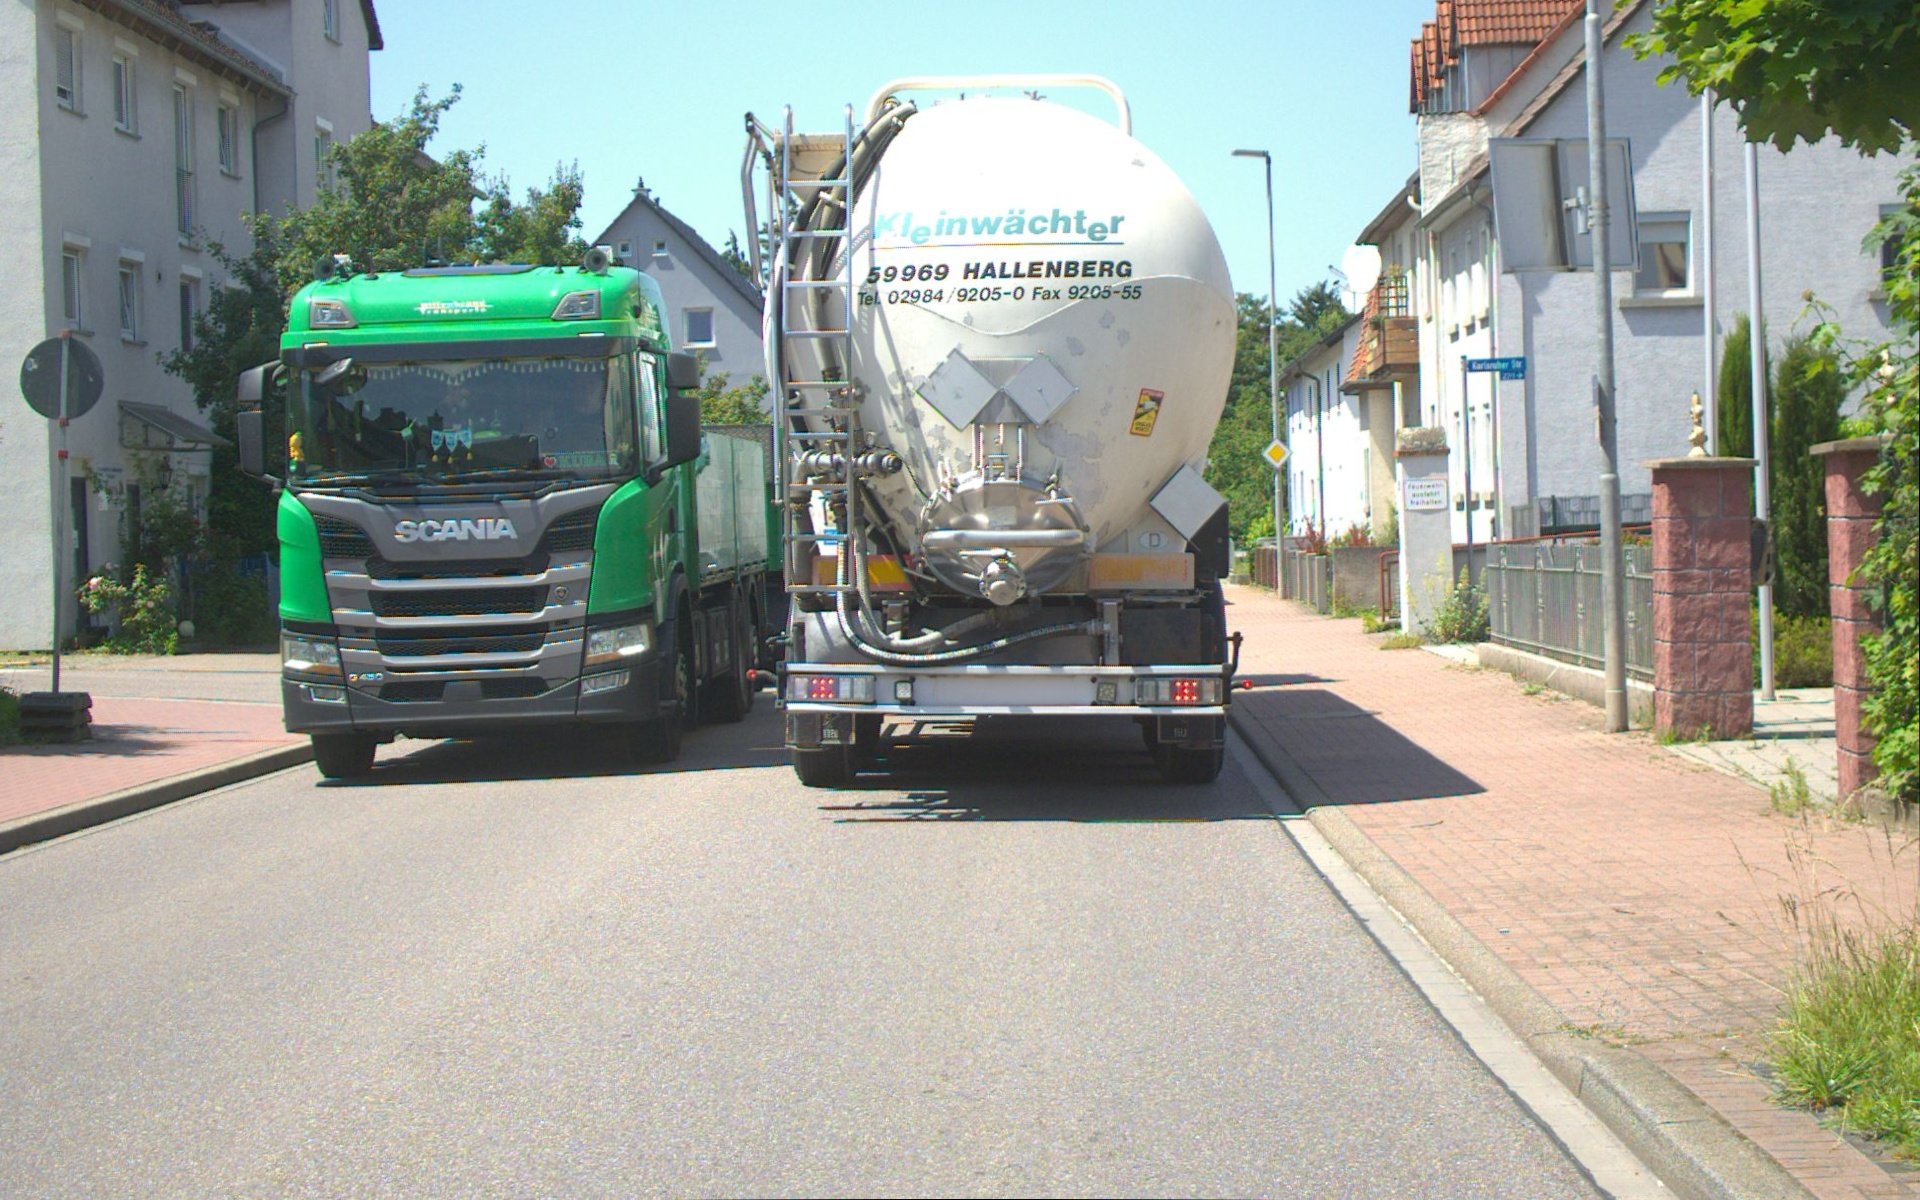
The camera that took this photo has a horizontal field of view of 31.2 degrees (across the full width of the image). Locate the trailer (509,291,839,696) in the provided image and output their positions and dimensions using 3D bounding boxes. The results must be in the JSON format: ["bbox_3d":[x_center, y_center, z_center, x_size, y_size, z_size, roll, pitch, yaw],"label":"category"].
[{"bbox_3d":[-2.770,-1.071,35.723,2.530,3.636,8.462,-2,1,1],"label":"trailer"}]

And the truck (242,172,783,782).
[{"bbox_3d":[-3.042,-0.875,26.423,2.567,3.687,10.078,-2,1,1],"label":"truck"}]

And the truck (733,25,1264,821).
[{"bbox_3d":[0.265,-0.997,22.244,2.641,4.002,9.561,-1,1,1],"label":"truck"}]
